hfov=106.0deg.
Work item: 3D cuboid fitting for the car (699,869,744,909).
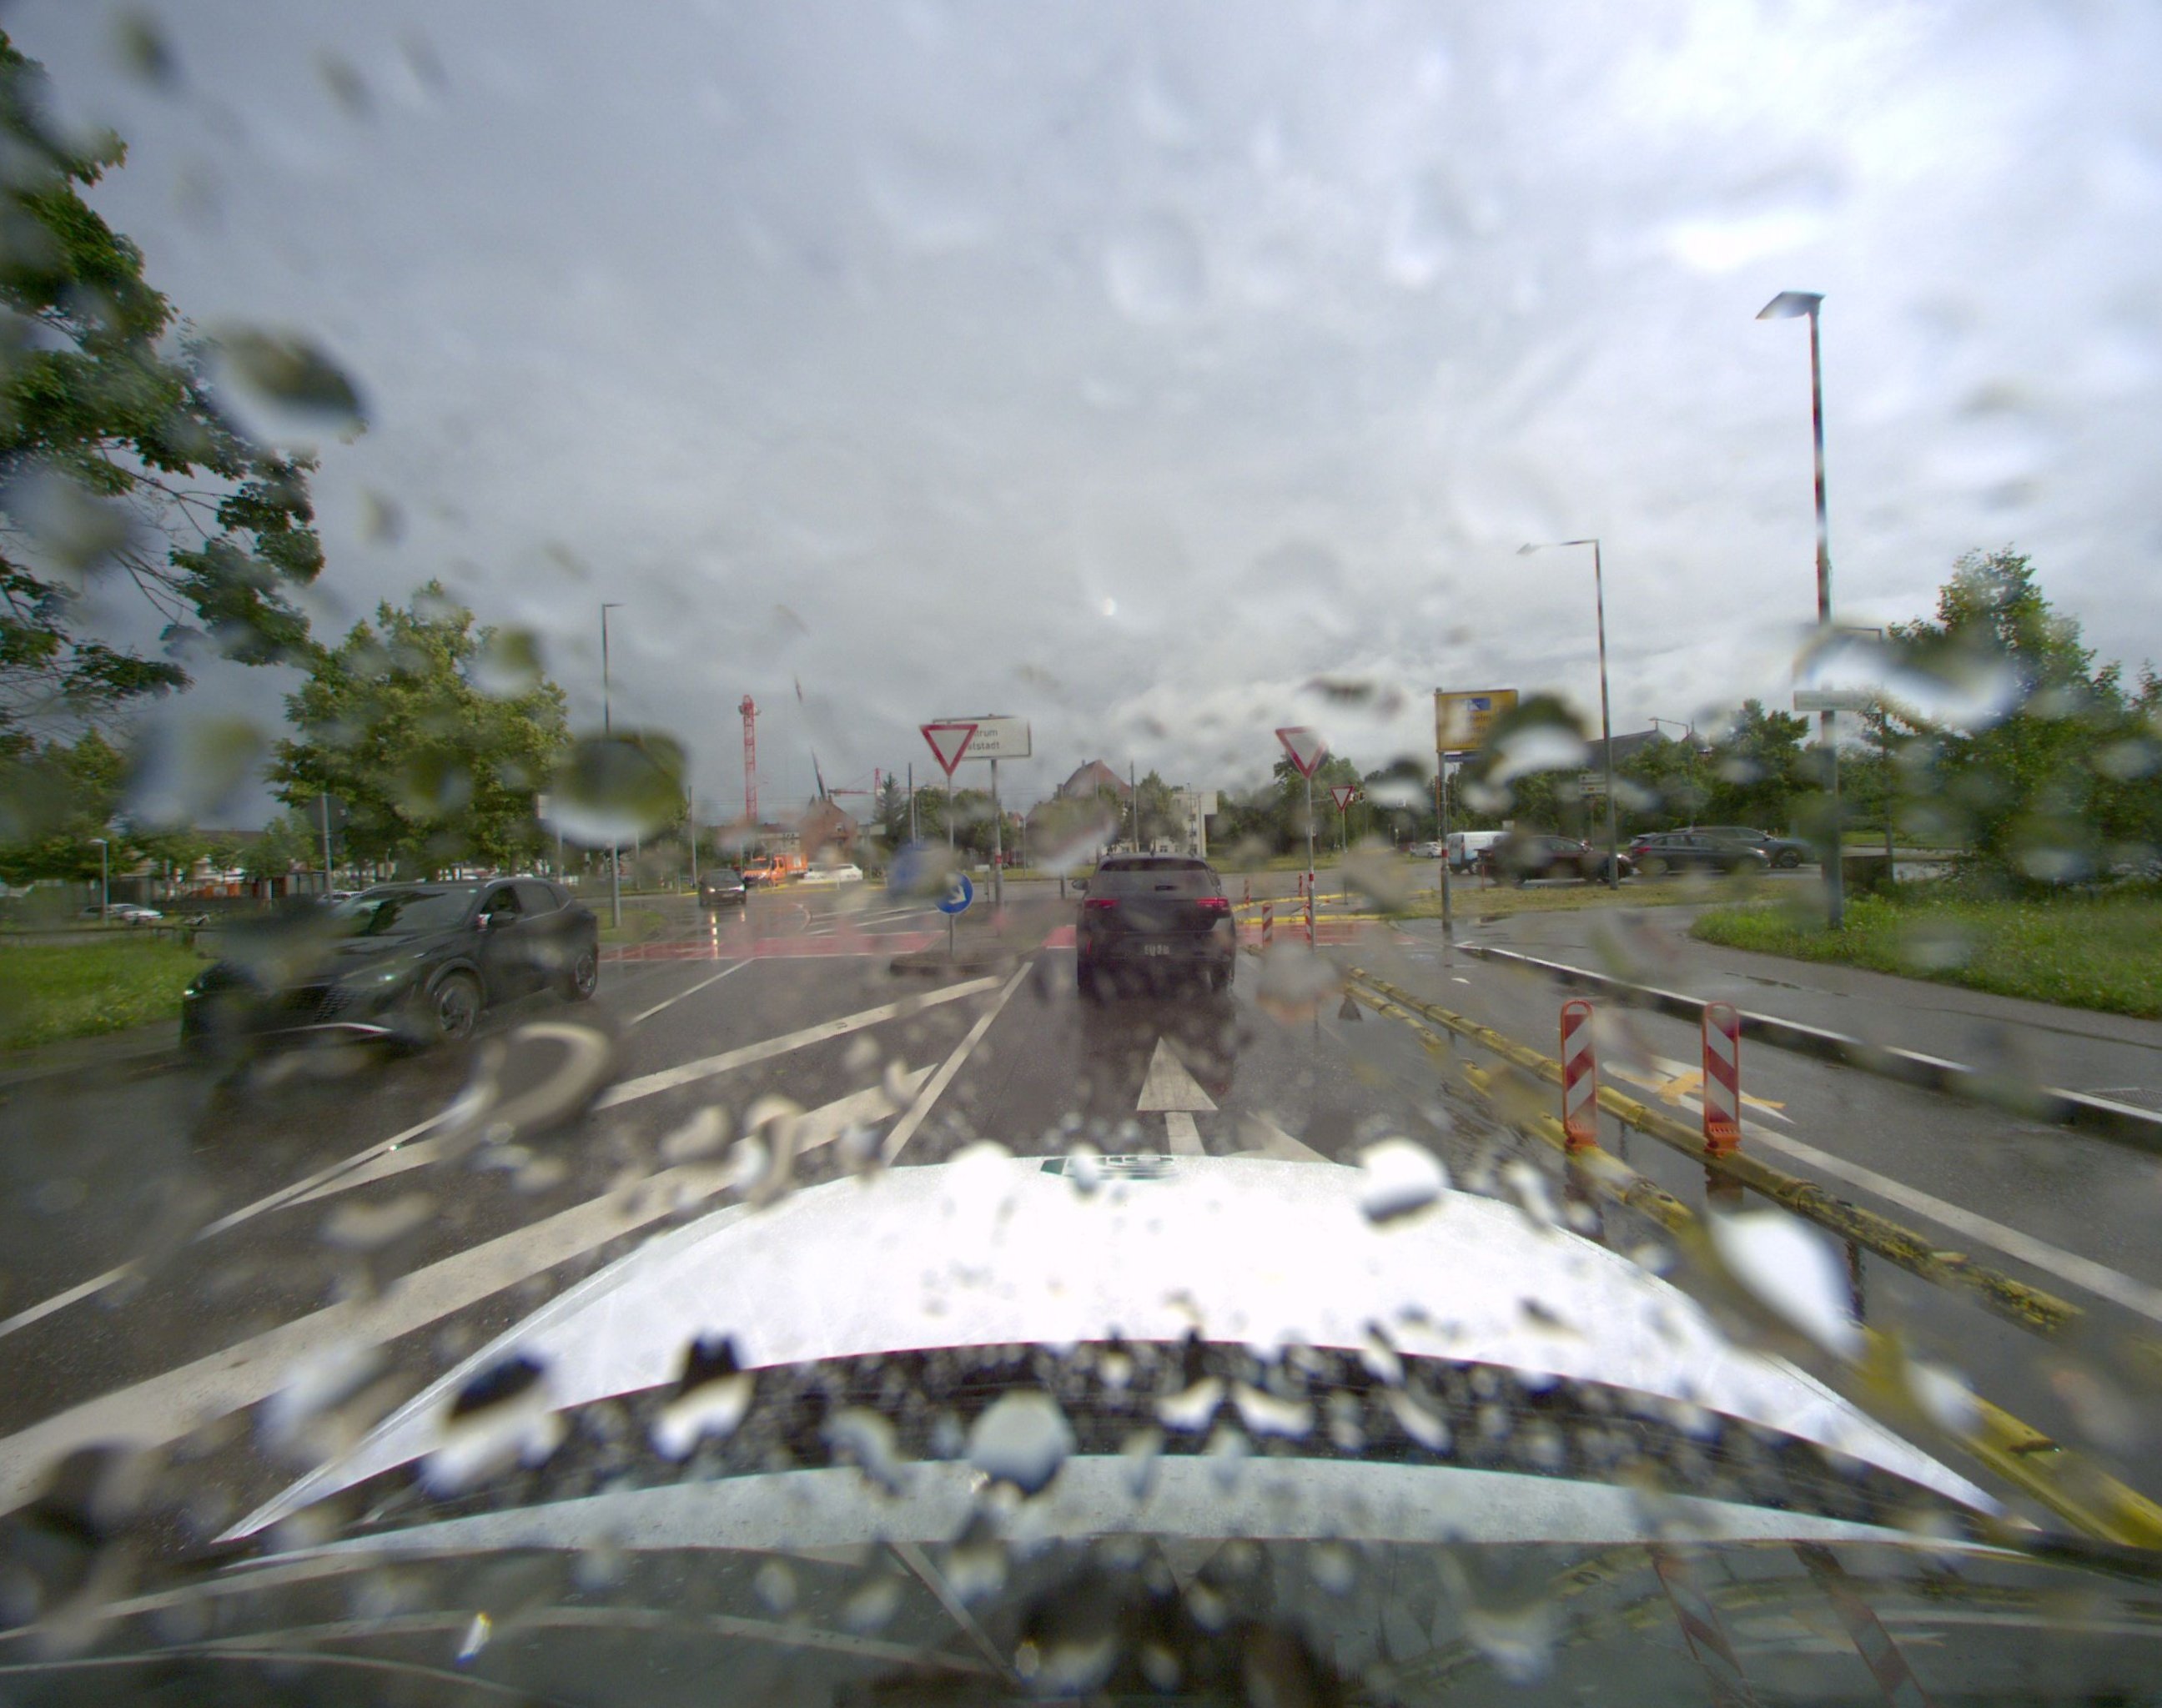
[{"bbox_3d":[-16.373,1.558,37.024,1.574,1.648,3.620,-2,0,-29],"label":"car"}]

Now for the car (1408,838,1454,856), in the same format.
[{"bbox_3d":[30.805,-0.607,71.780,1.733,1.548,3.567,-2,0,-19],"label":"car"}]

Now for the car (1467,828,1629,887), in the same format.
[{"bbox_3d":[15.608,0.122,27.473,4.312,1.725,2.007,-2,0,12],"label":"car"}]

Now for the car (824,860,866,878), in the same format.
[{"bbox_3d":[-22.543,1.408,77.872,3.517,1.584,1.552,-2,0,-30],"label":"car"}]

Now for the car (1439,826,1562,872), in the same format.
[{"bbox_3d":[18.141,-0.195,35.368,4.379,1.809,1.868,-2,0,-3],"label":"car"}]

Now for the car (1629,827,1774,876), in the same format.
[{"bbox_3d":[22.619,-0.075,29.876,3.906,1.644,1.680,-2,0,23],"label":"car"}]

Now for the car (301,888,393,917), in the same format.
[{"bbox_3d":[-47.557,3.153,52.837,4.384,1.628,1.630,-2,0,-1],"label":"car"}]

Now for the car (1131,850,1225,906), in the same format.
[{"bbox_3d":[3.001,0.680,24.547,1.719,1.514,3.624,-2,0,25],"label":"car"}]

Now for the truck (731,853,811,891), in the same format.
[{"bbox_3d":[-23.648,1.280,62.531,2.307,2.650,7.111,-2,0,11],"label":"truck"}]

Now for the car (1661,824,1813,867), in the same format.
[{"bbox_3d":[25.982,-0.319,32.474,4.349,1.548,1.881,-2,0,24],"label":"car"}]

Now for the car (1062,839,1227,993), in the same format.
[{"bbox_3d":[0.666,0.665,10.398,1.703,1.574,3.682,-1,0,0],"label":"car"}]

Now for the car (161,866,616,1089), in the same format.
[{"bbox_3d":[-6.845,1.032,8.762,1.733,1.664,4.097,-4,0,-8],"label":"car"}]
